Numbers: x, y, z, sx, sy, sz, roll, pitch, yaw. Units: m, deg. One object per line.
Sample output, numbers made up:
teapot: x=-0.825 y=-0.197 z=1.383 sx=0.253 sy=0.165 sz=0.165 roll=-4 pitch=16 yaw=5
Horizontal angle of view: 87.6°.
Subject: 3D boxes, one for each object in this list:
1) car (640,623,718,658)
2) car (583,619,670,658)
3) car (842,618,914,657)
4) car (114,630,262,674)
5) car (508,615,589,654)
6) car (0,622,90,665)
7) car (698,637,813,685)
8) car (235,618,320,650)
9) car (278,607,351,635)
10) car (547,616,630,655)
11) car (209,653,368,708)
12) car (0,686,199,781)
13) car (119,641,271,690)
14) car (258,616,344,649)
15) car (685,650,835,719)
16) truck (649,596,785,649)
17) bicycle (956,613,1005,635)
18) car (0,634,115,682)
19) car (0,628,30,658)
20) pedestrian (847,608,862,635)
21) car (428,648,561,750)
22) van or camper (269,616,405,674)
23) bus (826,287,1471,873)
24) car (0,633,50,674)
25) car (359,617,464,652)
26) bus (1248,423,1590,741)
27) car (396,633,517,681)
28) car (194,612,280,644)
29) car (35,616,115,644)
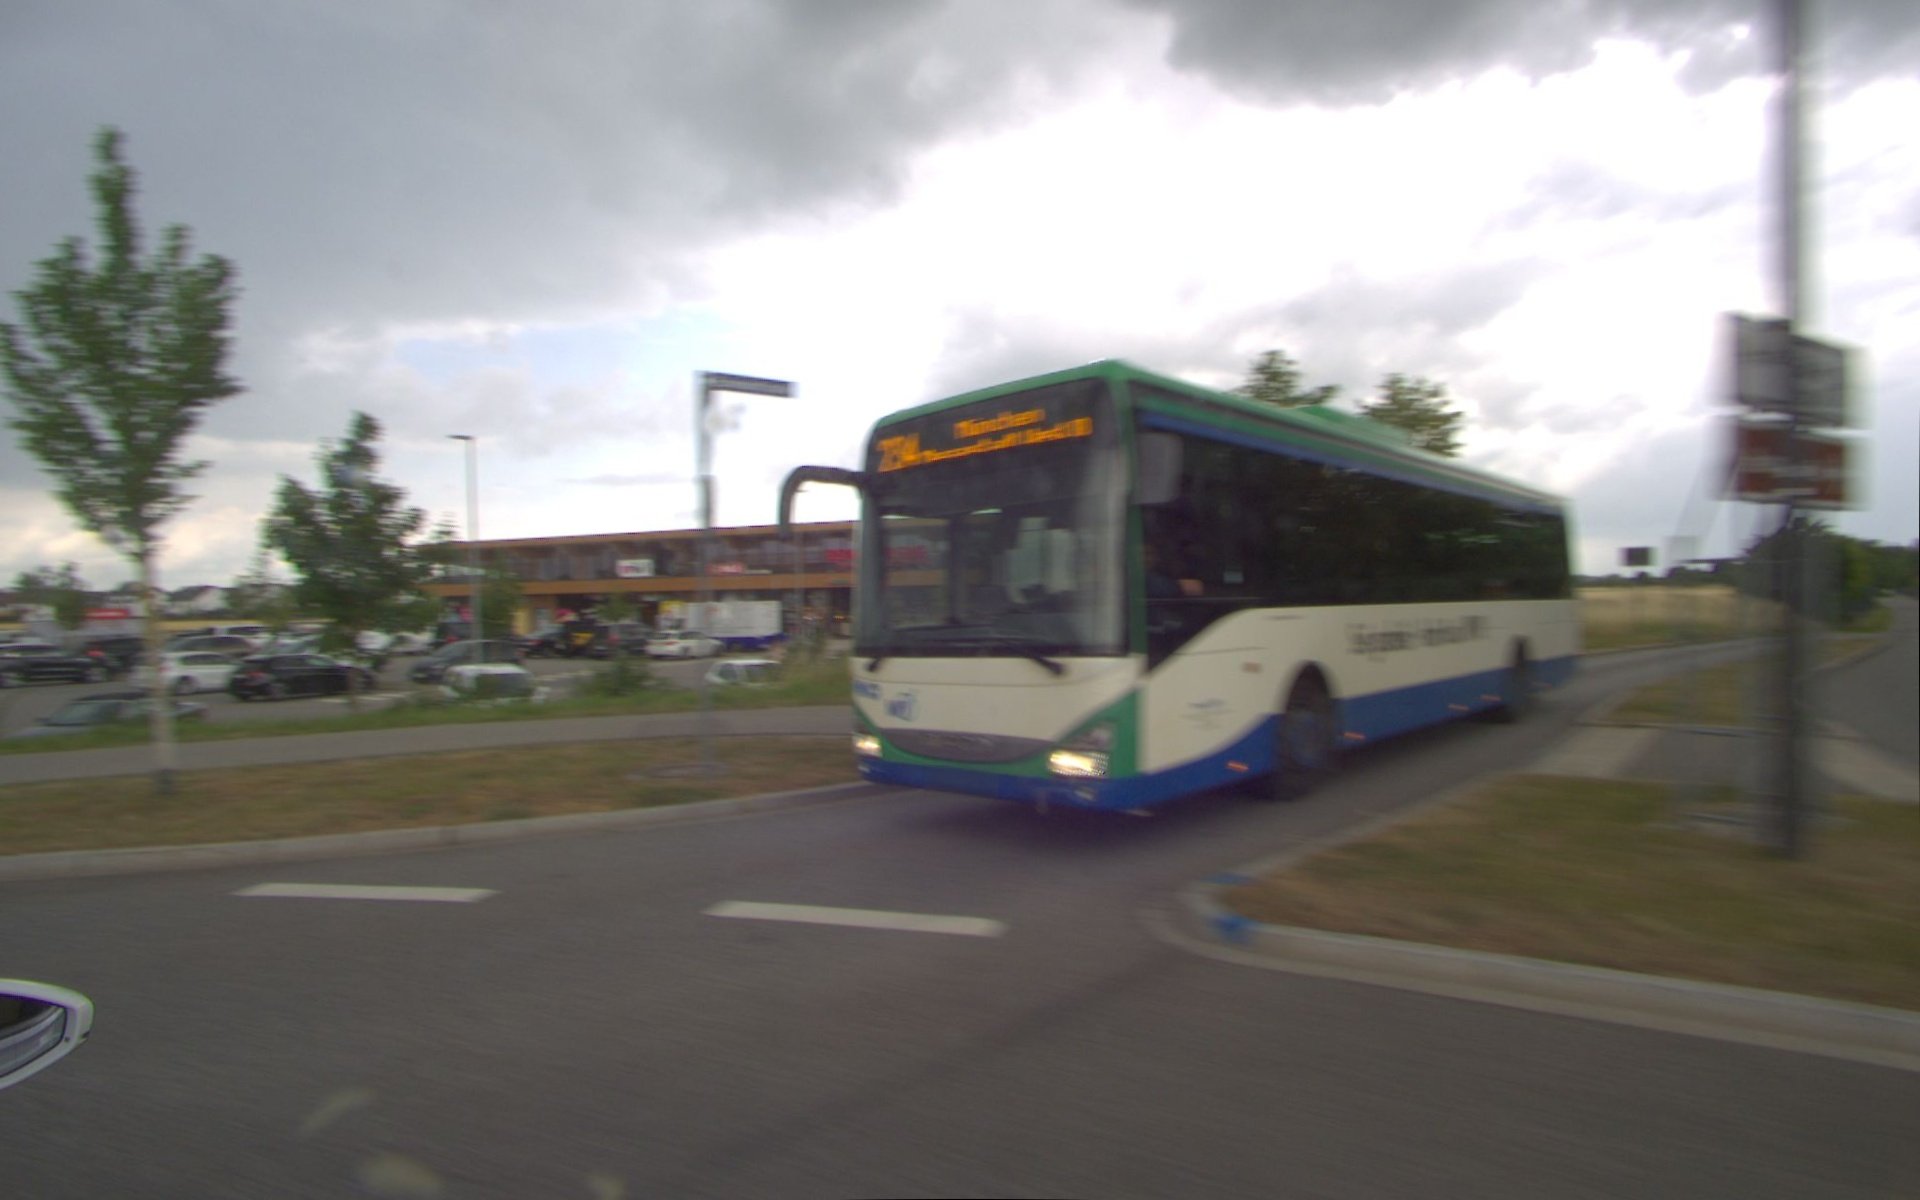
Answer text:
car: x=-13.937 y=1.976 z=49.897 sx=1.701 sy=1.550 sz=3.990 roll=-1 pitch=1 yaw=20
car: x=-16.840 y=1.916 z=50.715 sx=1.822 sy=1.747 sz=4.107 roll=-2 pitch=-1 yaw=24
car: x=-3.631 y=1.637 z=44.734 sx=1.687 sy=1.589 sz=3.659 roll=-1 pitch=0 yaw=23
car: x=-35.065 y=2.327 z=45.652 sx=1.968 sy=1.687 sz=4.972 roll=-1 pitch=1 yaw=25
car: x=-22.131 y=1.834 z=53.972 sx=1.742 sy=1.879 sz=3.990 roll=-1 pitch=1 yaw=21
car: x=-50.728 y=2.336 z=54.267 sx=1.963 sy=2.041 sz=5.117 roll=0 pitch=1 yaw=15
car: x=-6.455 y=1.875 z=31.471 sx=3.635 sy=1.311 sz=1.702 roll=-1 pitch=1 yaw=42
car: x=-43.278 y=2.128 z=63.541 sx=1.970 sy=1.862 sz=3.981 roll=-1 pitch=1 yaw=29
car: x=-46.290 y=1.474 z=71.914 sx=1.846 sy=1.865 sz=3.981 roll=-1 pitch=1 yaw=29
car: x=-19.451 y=1.856 z=52.634 sx=1.744 sy=1.879 sz=3.986 roll=-1 pitch=0 yaw=25
car: x=-21.810 y=2.574 z=32.715 sx=1.805 sy=1.417 sz=3.990 roll=-1 pitch=1 yaw=21
car: x=-17.034 y=2.570 z=19.888 sx=1.551 sy=1.390 sz=3.729 roll=-1 pitch=0 yaw=-12
car: x=-27.003 y=2.280 z=35.487 sx=1.654 sy=1.504 sz=3.987 roll=-1 pitch=0 yaw=21
car: x=-40.886 y=1.993 z=62.242 sx=1.969 sy=1.862 sz=3.983 roll=-1 pitch=0 yaw=28
car: x=-5.316 y=2.155 z=26.370 sx=1.981 sy=1.528 sz=3.960 roll=-2 pitch=0 yaw=-45
truck: x=-13.856 y=1.269 z=57.136 sx=7.133 sy=2.845 sz=2.969 roll=-1 pitch=1 yaw=21
bicycle: x=1.275 y=1.503 z=61.879 sx=2.823 sy=1.326 sz=0.976 roll=-1 pitch=1 yaw=25
car: x=-37.312 y=2.329 z=40.508 sx=1.774 sy=1.728 sz=4.450 roll=-1 pitch=0 yaw=25
car: x=-53.868 y=2.416 z=54.600 sx=1.740 sy=1.599 sz=4.309 roll=-1 pitch=0 yaw=27
pedestrian: x=-6.798 y=1.386 z=64.530 sx=0.737 sy=1.680 sz=0.804 roll=-1 pitch=1 yaw=17
car: x=-10.769 y=2.158 z=23.005 sx=1.778 sy=1.696 sz=4.408 roll=-3 pitch=4 yaw=-38
van or camper: x=-26.683 y=1.872 z=43.120 sx=1.735 sy=2.126 sz=4.791 roll=-2 pitch=1 yaw=21
bus: x=2.157 y=-0.100 z=8.874 sx=2.498 sy=3.301 sz=6.490 roll=-1 pitch=0 yaw=43
car: x=-42.640 y=2.379 z=43.331 sx=1.968 sy=1.687 sz=4.402 roll=-1 pitch=1 yaw=25
car: x=-32.305 y=2.010 z=59.192 sx=1.968 sy=1.855 sz=5.285 roll=-2 pitch=0 yaw=25
bus: x=6.259 y=-0.169 z=13.234 sx=2.498 sy=3.301 sz=5.411 roll=-1 pitch=0 yaw=43
car: x=-18.935 y=2.095 z=37.823 sx=1.701 sy=1.574 sz=3.991 roll=-1 pitch=0 yaw=20
car: x=-46.204 y=1.754 z=64.090 sx=1.970 sy=1.862 sz=3.982 roll=-1 pitch=0 yaw=29
car: x=-65.189 y=2.203 z=73.806 sx=1.970 sy=1.862 sz=3.981 roll=-1 pitch=1 yaw=29
